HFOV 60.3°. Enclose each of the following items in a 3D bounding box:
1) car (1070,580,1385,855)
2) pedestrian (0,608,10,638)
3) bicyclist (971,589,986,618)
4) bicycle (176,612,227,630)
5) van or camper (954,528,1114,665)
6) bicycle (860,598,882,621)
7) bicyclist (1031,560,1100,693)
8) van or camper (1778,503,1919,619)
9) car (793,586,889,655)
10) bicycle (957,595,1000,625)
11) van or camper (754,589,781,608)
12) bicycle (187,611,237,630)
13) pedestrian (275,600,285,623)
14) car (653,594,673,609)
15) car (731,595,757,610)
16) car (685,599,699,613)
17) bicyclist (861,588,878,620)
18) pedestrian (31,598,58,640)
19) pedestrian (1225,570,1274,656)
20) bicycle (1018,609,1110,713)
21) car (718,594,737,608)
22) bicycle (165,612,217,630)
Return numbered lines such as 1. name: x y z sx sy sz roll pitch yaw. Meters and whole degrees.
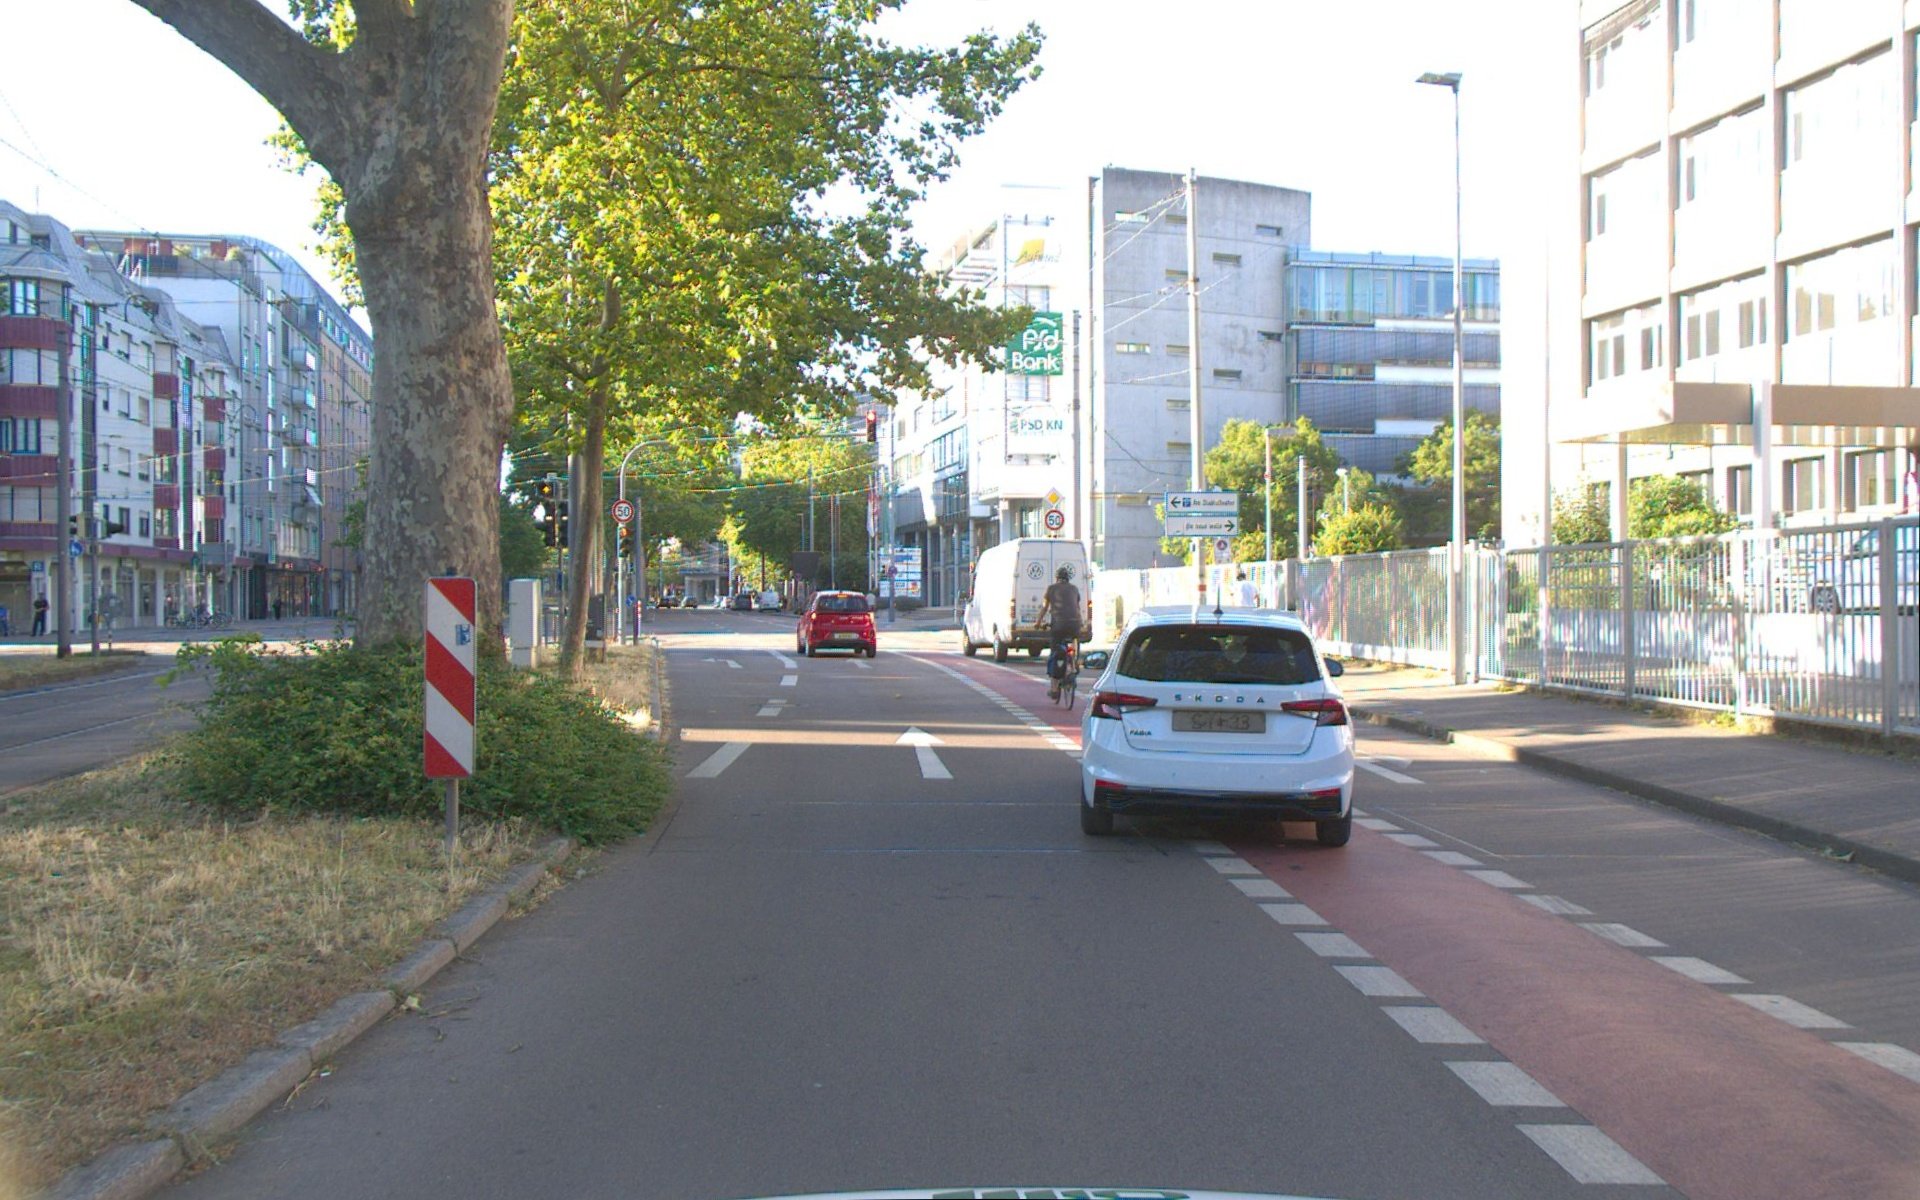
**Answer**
1. car: 1.784 0.666 11.542 1.764 1.527 3.984 1 0 7
2. pedestrian: -39.272 0.945 67.954 0.298 1.235 0.317 -1 0 -16
3. bicyclist: 0.910 0.158 80.076 0.594 1.413 0.634 -1 0 -12
4. bicycle: -36.313 1.014 79.182 2.133 0.801 0.490 -1 0 -15
5. van or camper: 1.543 -0.085 37.656 2.228 2.781 6.331 2 0 -10
6. bicycle: -4.699 0.471 87.085 0.779 1.182 2.492 -1 0 -13
7. bicyclist: 1.370 0.340 21.595 0.729 1.698 0.743 1 0 -10
8. van or camper: 16.737 -0.678 28.638 1.946 1.942 4.985 -1 1 -12
9. car: -2.824 0.436 38.569 1.806 1.515 3.707 -1 0 -11
10. bicycle: 0.883 0.460 80.070 1.953 1.403 0.645 -1 0 -13
11. van or camper: -18.959 -0.137 162.982 2.109 1.781 4.415 -1 1 -14
12. bicycle: -36.436 0.997 80.539 2.133 0.838 0.526 -1 0 -15
13. pedestrian: -44.818 0.771 109.045 0.501 1.484 0.527 -1 0 -9
14. car: -36.127 0.159 200.892 2.024 1.682 3.477 -1 1 -16
15. car: -23.541 0.233 180.129 2.435 1.555 4.417 -2 1 -13
16. car: -33.357 0.737 205.854 1.628 1.635 3.520 -1 1 -12
17. bicyclist: -4.762 0.212 87.317 0.772 1.663 0.637 -1 0 -14
18. pedestrian: -37.041 0.759 66.917 0.697 1.691 1.029 -1 0 -16
19. pedestrian: 6.150 0.272 35.121 0.772 1.779 0.770 -1 0 -12
20. bicycle: 1.338 0.769 21.698 0.730 1.245 2.151 1 0 -9
21. car: -28.328 0.117 201.474 1.853 1.555 4.416 -1 1 -14
22. bicycle: -36.415 1.013 78.386 2.133 0.801 0.638 -1 0 -15
